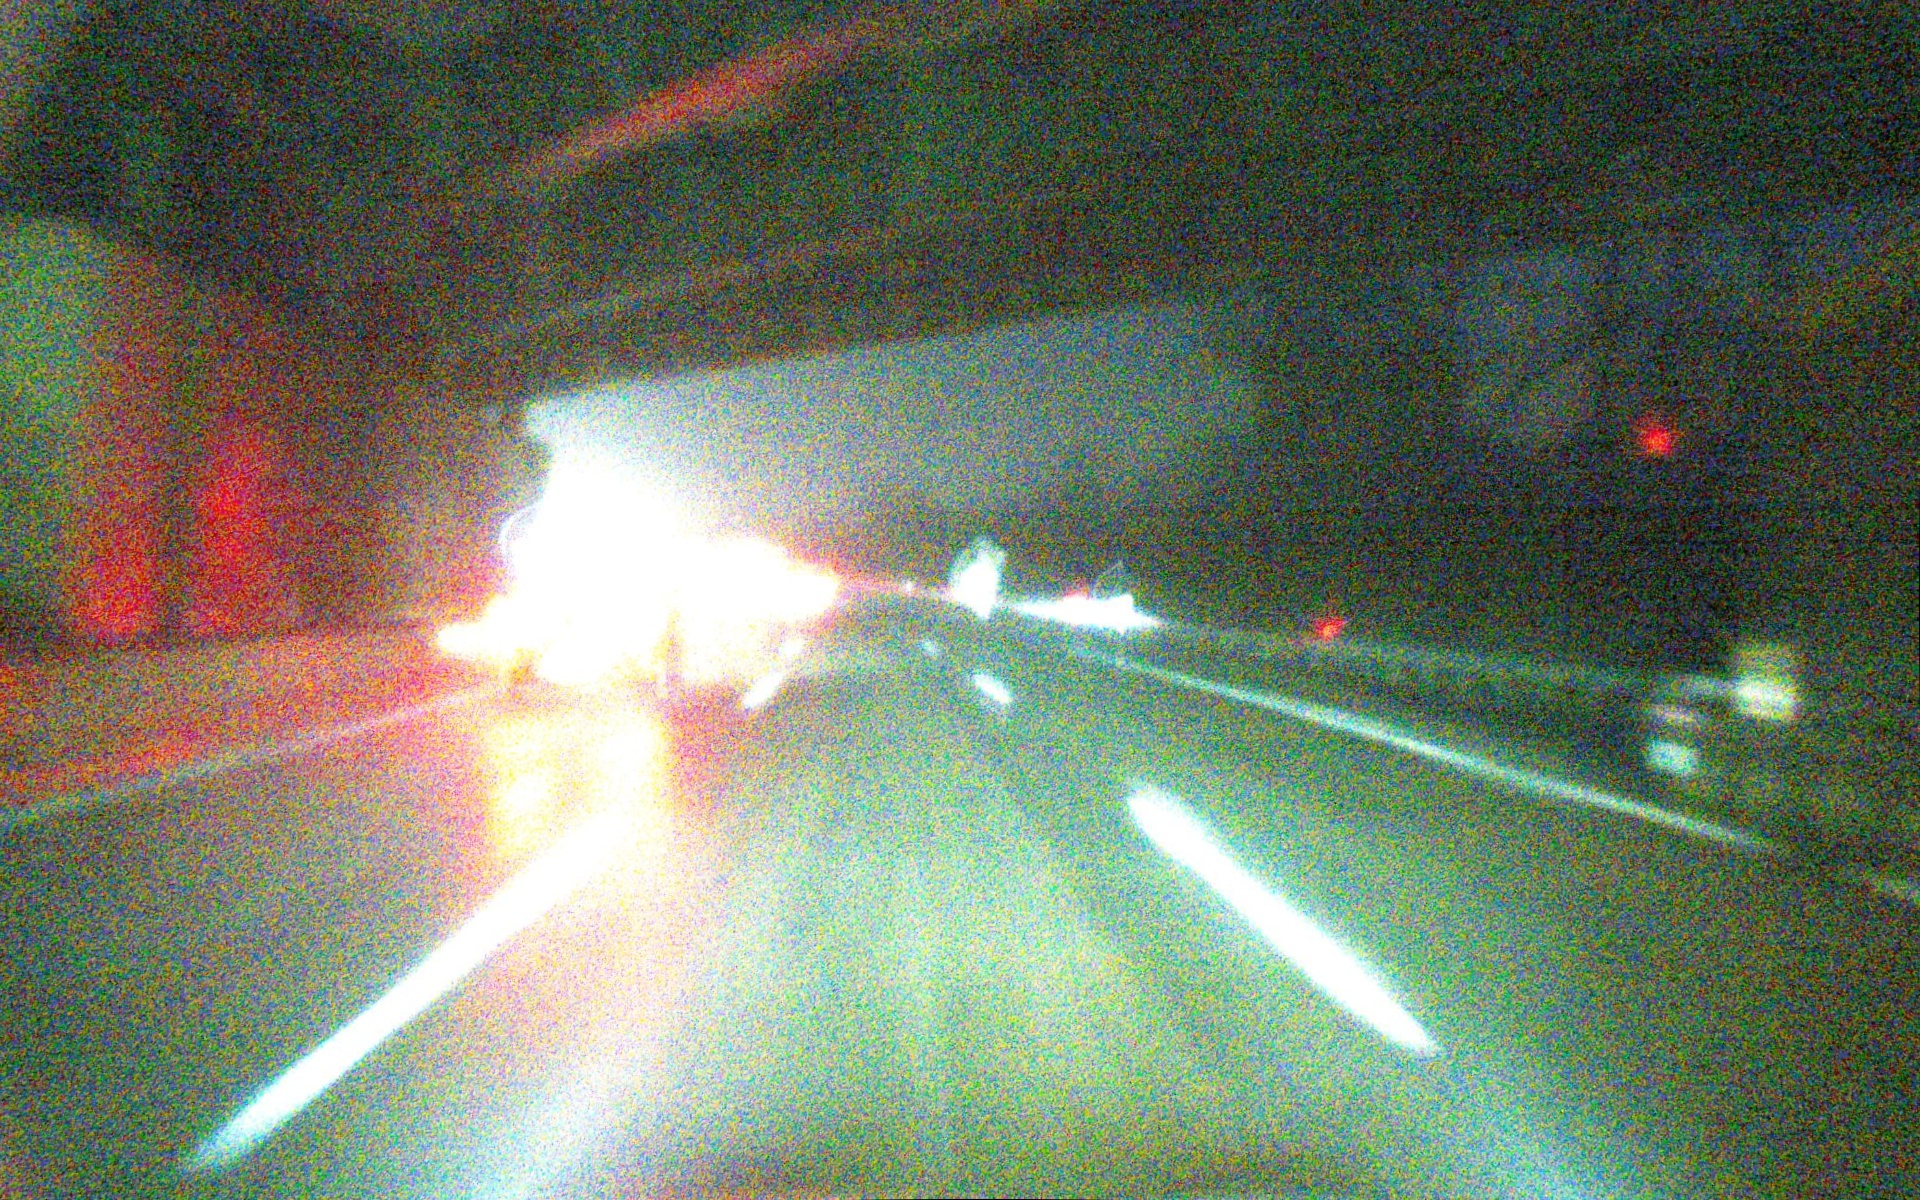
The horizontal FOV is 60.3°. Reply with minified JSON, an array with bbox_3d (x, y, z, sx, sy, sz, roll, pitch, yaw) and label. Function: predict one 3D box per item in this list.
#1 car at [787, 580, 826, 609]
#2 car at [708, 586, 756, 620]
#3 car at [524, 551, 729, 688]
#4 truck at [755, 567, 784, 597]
[{"bbox_3d":[-8.304,-0.311,89.815,1.765,1.513,3.999,0,0,-1],"label":"car"},{"bbox_3d":[-8.833,0.110,64.307,1.629,1.258,3.757,1,0,-5],"label":"car"},{"bbox_3d":[-4.489,0.236,22.990,1.821,1.567,4.750,4,0,-1],"label":"car"},{"bbox_3d":[-20.246,-1.853,175.397,1.962,3.096,6.435,1,0,-17],"label":"truck"}]
